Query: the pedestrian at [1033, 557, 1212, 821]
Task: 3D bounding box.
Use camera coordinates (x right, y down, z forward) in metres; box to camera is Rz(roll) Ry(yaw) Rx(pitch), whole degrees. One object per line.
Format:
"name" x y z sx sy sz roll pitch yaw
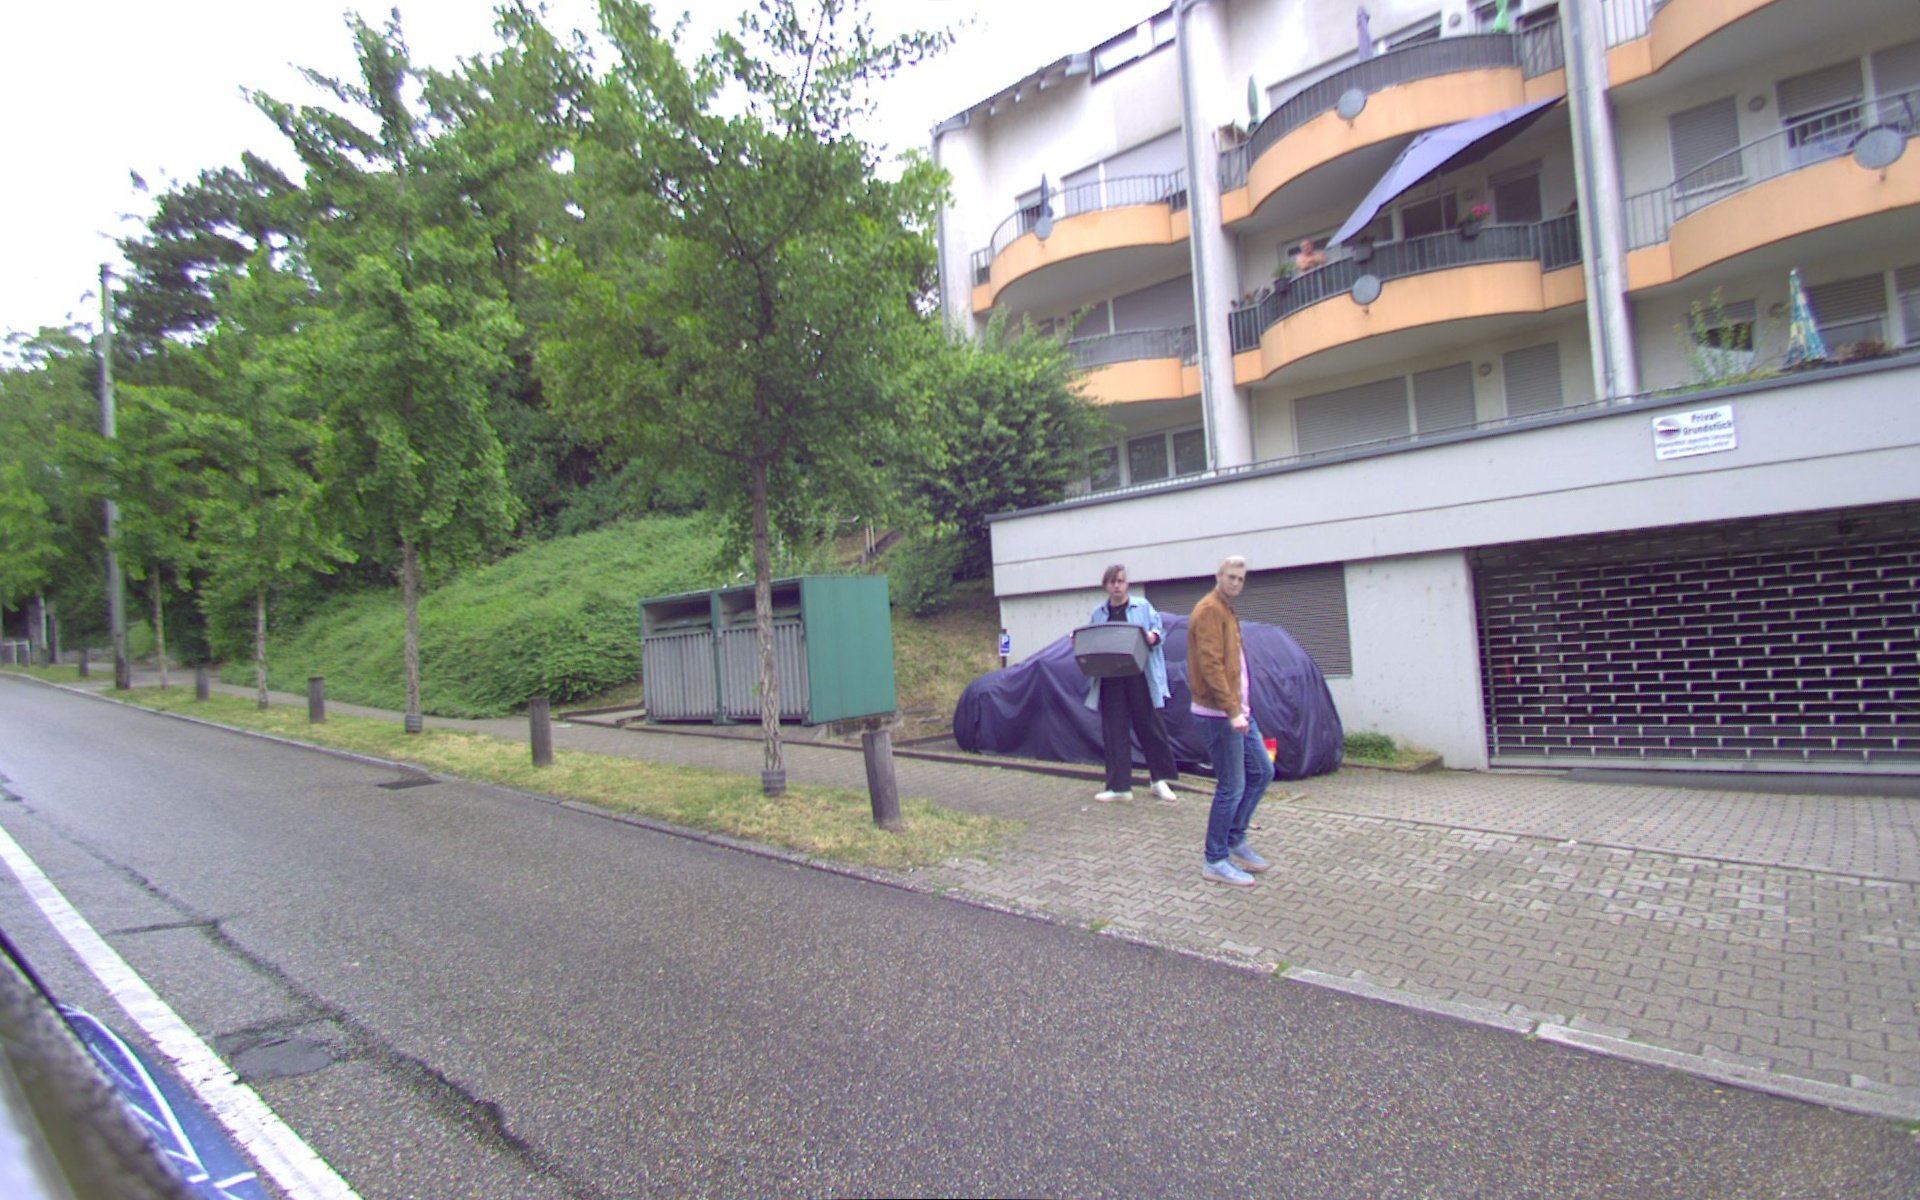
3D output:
"pedestrian" 1.232 0.602 7.622 0.825 1.795 1.058 -1 2 43

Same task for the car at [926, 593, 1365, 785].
"car" 1.752 0.825 10.346 4.096 1.573 1.759 -2 -5 41

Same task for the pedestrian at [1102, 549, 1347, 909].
"pedestrian" 1.490 0.639 5.684 1.071 1.795 0.815 -1 1 35
